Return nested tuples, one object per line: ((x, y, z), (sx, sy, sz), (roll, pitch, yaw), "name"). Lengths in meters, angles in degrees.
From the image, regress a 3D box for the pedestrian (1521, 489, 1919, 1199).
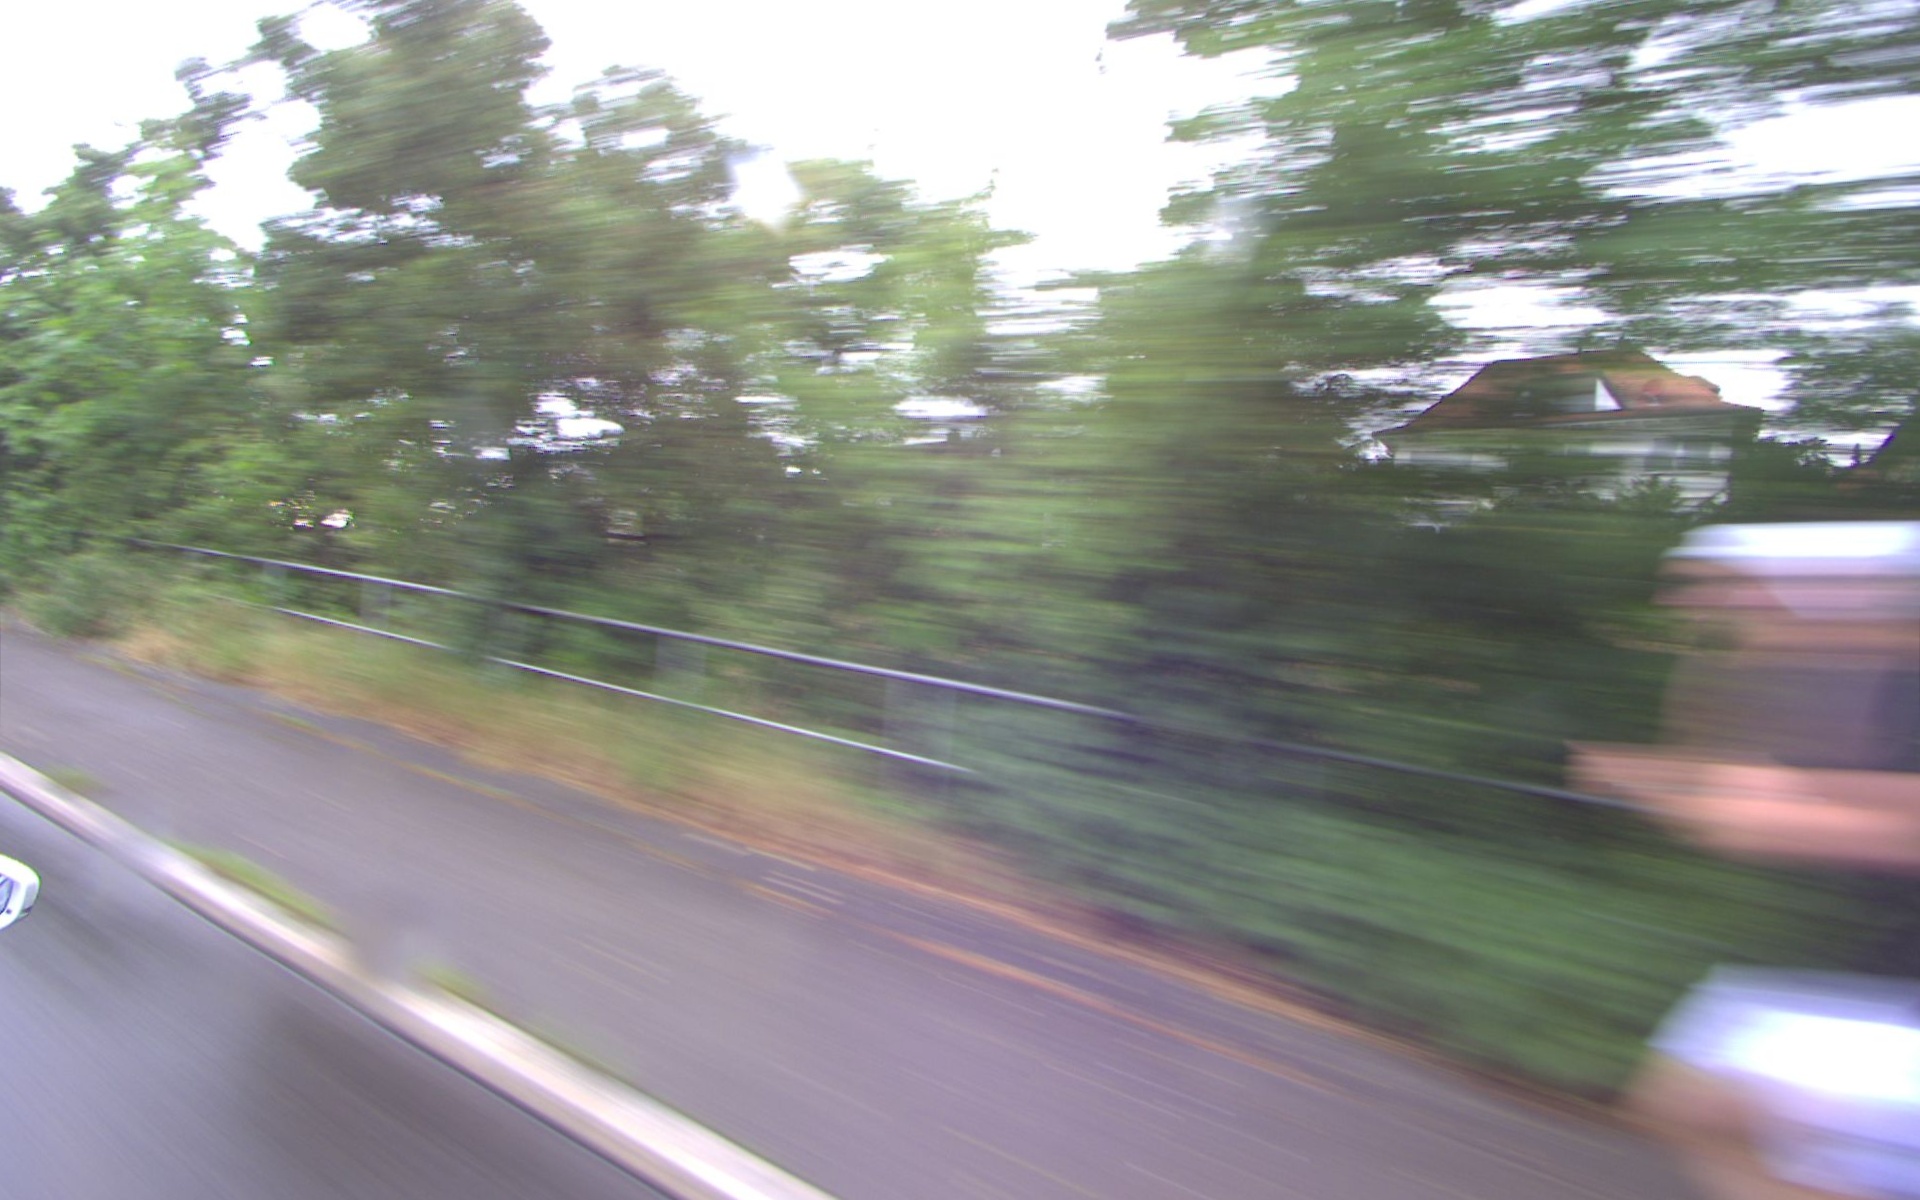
((1.713, 0.786, 1.904), (1.005, 1.859, 0.716), (7, 3, 34), "pedestrian")
